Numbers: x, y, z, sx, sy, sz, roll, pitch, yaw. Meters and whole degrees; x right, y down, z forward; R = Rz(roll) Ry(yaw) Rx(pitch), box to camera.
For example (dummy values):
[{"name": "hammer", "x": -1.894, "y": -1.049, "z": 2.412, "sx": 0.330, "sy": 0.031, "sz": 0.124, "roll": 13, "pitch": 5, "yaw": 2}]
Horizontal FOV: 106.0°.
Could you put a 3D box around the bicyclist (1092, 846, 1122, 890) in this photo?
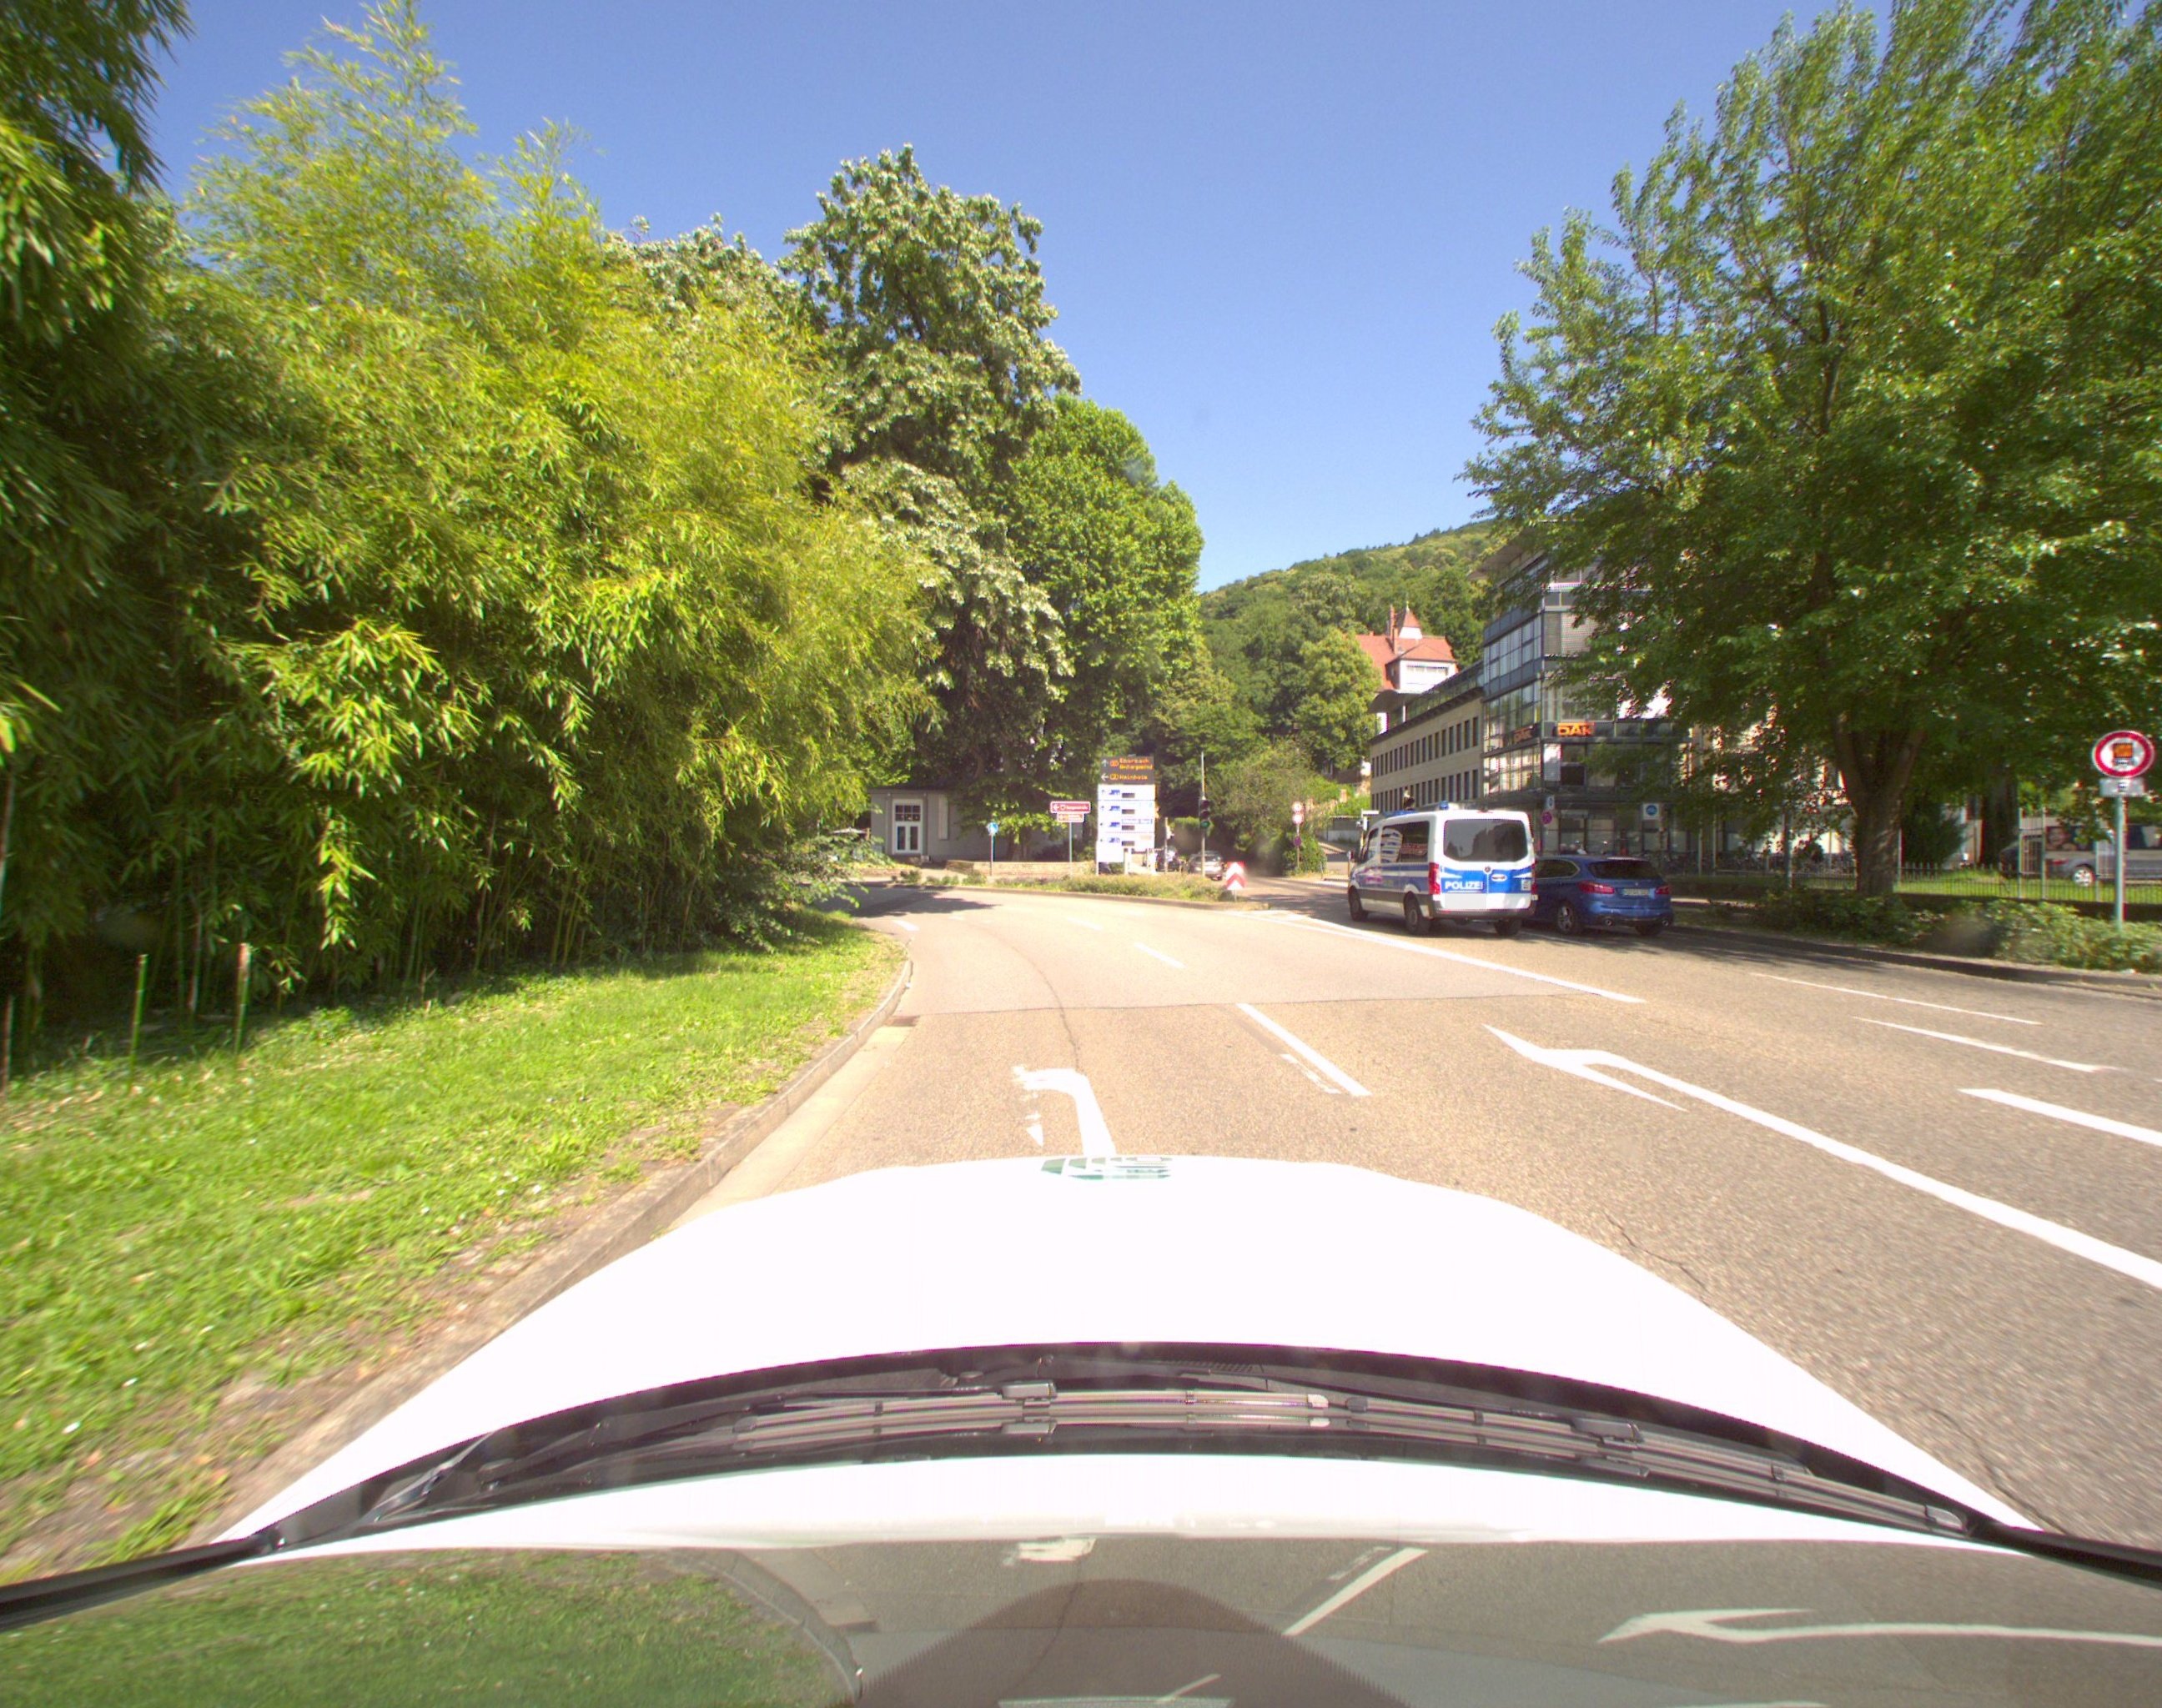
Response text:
[{"name": "bicyclist", "x": 1.159, "y": 0.596, "z": 36.113, "sx": 1.115, "sy": 1.932, "sz": 0.753, "roll": 0, "pitch": 0, "yaw": 27}]

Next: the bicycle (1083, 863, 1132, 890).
[{"name": "bicycle", "x": 1.172, "y": 0.991, "z": 36.118, "sx": 2.057, "sy": 1.112, "sz": 0.761, "roll": 0, "pitch": 0, "yaw": 27}]

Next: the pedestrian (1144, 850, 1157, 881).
[{"name": "pedestrian", "x": 3.578, "y": 0.584, "z": 41.814, "sx": 0.543, "sy": 1.621, "sz": 0.636, "roll": 0, "pitch": 0, "yaw": 12}]

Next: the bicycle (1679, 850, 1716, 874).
[{"name": "bicycle", "x": 29.698, "y": 0.373, "z": 39.253, "sx": 0.535, "sy": 1.085, "sz": 1.837, "roll": -1, "pitch": 0, "yaw": 5}]

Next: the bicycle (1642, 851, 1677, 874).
[{"name": "bicycle", "x": 27.877, "y": 0.388, "z": 39.281, "sx": 0.535, "sy": 1.085, "sz": 1.837, "roll": -1, "pitch": 0, "yaw": 5}]

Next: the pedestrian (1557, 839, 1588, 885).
[{"name": "pedestrian", "x": 19.872, "y": 0.313, "z": 32.967, "sx": 0.768, "sy": 1.854, "sz": 0.830, "roll": 0, "pitch": 0, "yaw": 2}]

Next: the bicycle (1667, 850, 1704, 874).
[{"name": "bicycle", "x": 29.118, "y": 0.377, "z": 39.241, "sx": 0.535, "sy": 1.085, "sz": 1.837, "roll": -1, "pitch": 0, "yaw": 5}]

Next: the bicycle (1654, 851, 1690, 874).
[{"name": "bicycle", "x": 28.473, "y": 0.383, "z": 39.264, "sx": 0.535, "sy": 1.085, "sz": 1.837, "roll": -1, "pitch": 0, "yaw": 5}]

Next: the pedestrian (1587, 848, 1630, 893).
[{"name": "pedestrian", "x": 19.075, "y": 0.594, "z": 29.448, "sx": 1.111, "sy": 1.581, "sz": 0.744, "roll": -1, "pitch": 0, "yaw": 15}]

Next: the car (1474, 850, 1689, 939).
[{"name": "car", "x": 10.022, "y": 0.713, "z": 16.758, "sx": 1.714, "sy": 1.541, "sz": 4.270, "roll": 1, "pitch": 1, "yaw": -1}]

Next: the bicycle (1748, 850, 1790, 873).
[{"name": "bicycle", "x": 32.761, "y": 0.345, "z": 38.803, "sx": 0.535, "sy": 1.085, "sz": 1.837, "roll": -1, "pitch": 0, "yaw": 5}]

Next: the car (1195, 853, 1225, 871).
[{"name": "car", "x": 9.402, "y": 0.546, "z": 59.425, "sx": 1.749, "sy": 1.213, "sz": 3.496, "roll": 0, "pitch": 0, "yaw": 2}]

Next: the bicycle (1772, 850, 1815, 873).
[{"name": "bicycle", "x": 33.980, "y": 0.335, "z": 38.857, "sx": 0.535, "sy": 1.085, "sz": 1.837, "roll": -1, "pitch": 0, "yaw": 5}]

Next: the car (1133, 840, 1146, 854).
[{"name": "car", "x": 8.068, "y": -0.937, "z": 112.441, "sx": 1.749, "sy": 1.938, "sz": 3.496, "roll": 0, "pitch": 0, "yaw": 2}]

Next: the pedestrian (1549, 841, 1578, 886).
[{"name": "pedestrian", "x": 20.072, "y": 0.394, "z": 33.889, "sx": 0.767, "sy": 1.854, "sz": 0.830, "roll": 0, "pitch": 0, "yaw": 4}]

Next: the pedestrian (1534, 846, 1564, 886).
[{"name": "pedestrian", "x": 19.477, "y": 0.484, "z": 33.905, "sx": 0.767, "sy": 1.662, "sz": 0.830, "roll": 0, "pitch": 0, "yaw": 4}]

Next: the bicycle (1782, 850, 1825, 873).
[{"name": "bicycle", "x": 34.584, "y": 0.331, "z": 39.021, "sx": 0.535, "sy": 1.085, "sz": 1.837, "roll": -1, "pitch": 0, "yaw": 5}]

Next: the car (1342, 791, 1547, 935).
[{"name": "car", "x": 7.203, "y": 0.160, "z": 16.817, "sx": 2.066, "sy": 2.508, "sz": 4.929, "roll": 1, "pitch": 0, "yaw": 0}]

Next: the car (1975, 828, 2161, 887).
[{"name": "car", "x": 26.901, "y": 0.081, "z": 21.752, "sx": 4.132, "sy": 1.476, "sz": 1.876, "roll": 0, "pitch": 0, "yaw": -3}]

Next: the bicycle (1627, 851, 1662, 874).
[{"name": "bicycle", "x": 27.202, "y": 0.394, "z": 39.314, "sx": 0.535, "sy": 1.085, "sz": 1.837, "roll": -1, "pitch": 0, "yaw": 5}]

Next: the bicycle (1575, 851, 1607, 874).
[{"name": "bicycle", "x": 24.811, "y": 0.415, "z": 39.627, "sx": 0.535, "sy": 1.085, "sz": 1.837, "roll": -1, "pitch": 0, "yaw": 5}]

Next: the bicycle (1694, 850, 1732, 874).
[{"name": "bicycle", "x": 30.264, "y": 0.367, "z": 39.026, "sx": 0.535, "sy": 1.085, "sz": 1.837, "roll": -1, "pitch": 0, "yaw": 5}]

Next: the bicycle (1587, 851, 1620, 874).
[{"name": "bicycle", "x": 25.363, "y": 0.410, "z": 39.545, "sx": 0.535, "sy": 1.085, "sz": 1.837, "roll": -1, "pitch": 0, "yaw": 5}]

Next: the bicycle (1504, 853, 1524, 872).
[{"name": "bicycle", "x": 22.967, "y": 0.445, "z": 43.186, "sx": 0.403, "sy": 0.941, "sz": 1.342, "roll": -1, "pitch": 0, "yaw": 3}]

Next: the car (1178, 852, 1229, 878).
[{"name": "car", "x": 6.589, "y": 0.559, "z": 44.069, "sx": 1.755, "sy": 1.334, "sz": 3.792, "roll": 0, "pitch": 0, "yaw": -8}]

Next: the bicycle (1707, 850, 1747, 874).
[{"name": "bicycle", "x": 30.908, "y": 0.362, "z": 38.995, "sx": 0.535, "sy": 1.085, "sz": 1.837, "roll": -1, "pitch": 0, "yaw": 5}]

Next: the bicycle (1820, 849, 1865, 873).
[{"name": "bicycle", "x": 36.417, "y": 0.315, "z": 38.961, "sx": 0.535, "sy": 1.085, "sz": 1.837, "roll": -1, "pitch": 0, "yaw": 5}]

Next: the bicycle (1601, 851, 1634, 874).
[{"name": "bicycle", "x": 26.002, "y": 0.404, "z": 39.495, "sx": 0.535, "sy": 1.085, "sz": 1.837, "roll": -1, "pitch": 0, "yaw": 5}]

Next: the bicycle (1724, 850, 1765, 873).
[{"name": "bicycle", "x": 31.563, "y": 0.355, "z": 38.766, "sx": 0.535, "sy": 1.085, "sz": 1.837, "roll": -1, "pitch": 0, "yaw": 5}]

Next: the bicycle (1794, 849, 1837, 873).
[{"name": "bicycle", "x": 35.185, "y": 0.326, "z": 39.052, "sx": 0.535, "sy": 1.085, "sz": 1.837, "roll": -1, "pitch": 0, "yaw": 5}]

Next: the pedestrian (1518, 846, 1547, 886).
[{"name": "pedestrian", "x": 18.753, "y": 0.491, "z": 33.832, "sx": 0.768, "sy": 1.662, "sz": 0.830, "roll": 0, "pitch": 0, "yaw": 3}]

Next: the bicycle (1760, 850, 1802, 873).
[{"name": "bicycle", "x": 33.363, "y": 0.340, "z": 38.818, "sx": 0.535, "sy": 1.085, "sz": 1.837, "roll": -1, "pitch": 0, "yaw": 5}]

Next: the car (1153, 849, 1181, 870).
[{"name": "car", "x": 6.136, "y": 0.374, "z": 58.128, "sx": 1.749, "sy": 1.461, "sz": 3.496, "roll": 0, "pitch": 0, "yaw": 2}]

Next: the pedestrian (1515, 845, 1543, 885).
[{"name": "pedestrian", "x": 19.007, "y": 0.466, "z": 34.541, "sx": 0.767, "sy": 1.662, "sz": 0.830, "roll": 0, "pitch": 0, "yaw": 3}]

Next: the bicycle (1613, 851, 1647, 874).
[{"name": "bicycle", "x": 26.594, "y": 0.399, "z": 39.463, "sx": 0.535, "sy": 1.085, "sz": 1.837, "roll": -1, "pitch": 0, "yaw": 5}]

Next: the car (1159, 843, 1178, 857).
[{"name": "car", "x": 9.196, "y": -0.393, "z": 86.039, "sx": 1.749, "sy": 1.461, "sz": 3.648, "roll": 0, "pitch": 0, "yaw": 2}]

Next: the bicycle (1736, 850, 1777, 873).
[{"name": "bicycle", "x": 32.168, "y": 0.350, "z": 38.801, "sx": 0.535, "sy": 1.085, "sz": 1.837, "roll": -1, "pitch": 0, "yaw": 5}]

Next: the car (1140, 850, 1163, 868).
[{"name": "car", "x": 5.904, "y": 0.416, "z": 68.339, "sx": 1.749, "sy": 1.461, "sz": 3.648, "roll": 0, "pitch": 0, "yaw": 2}]
